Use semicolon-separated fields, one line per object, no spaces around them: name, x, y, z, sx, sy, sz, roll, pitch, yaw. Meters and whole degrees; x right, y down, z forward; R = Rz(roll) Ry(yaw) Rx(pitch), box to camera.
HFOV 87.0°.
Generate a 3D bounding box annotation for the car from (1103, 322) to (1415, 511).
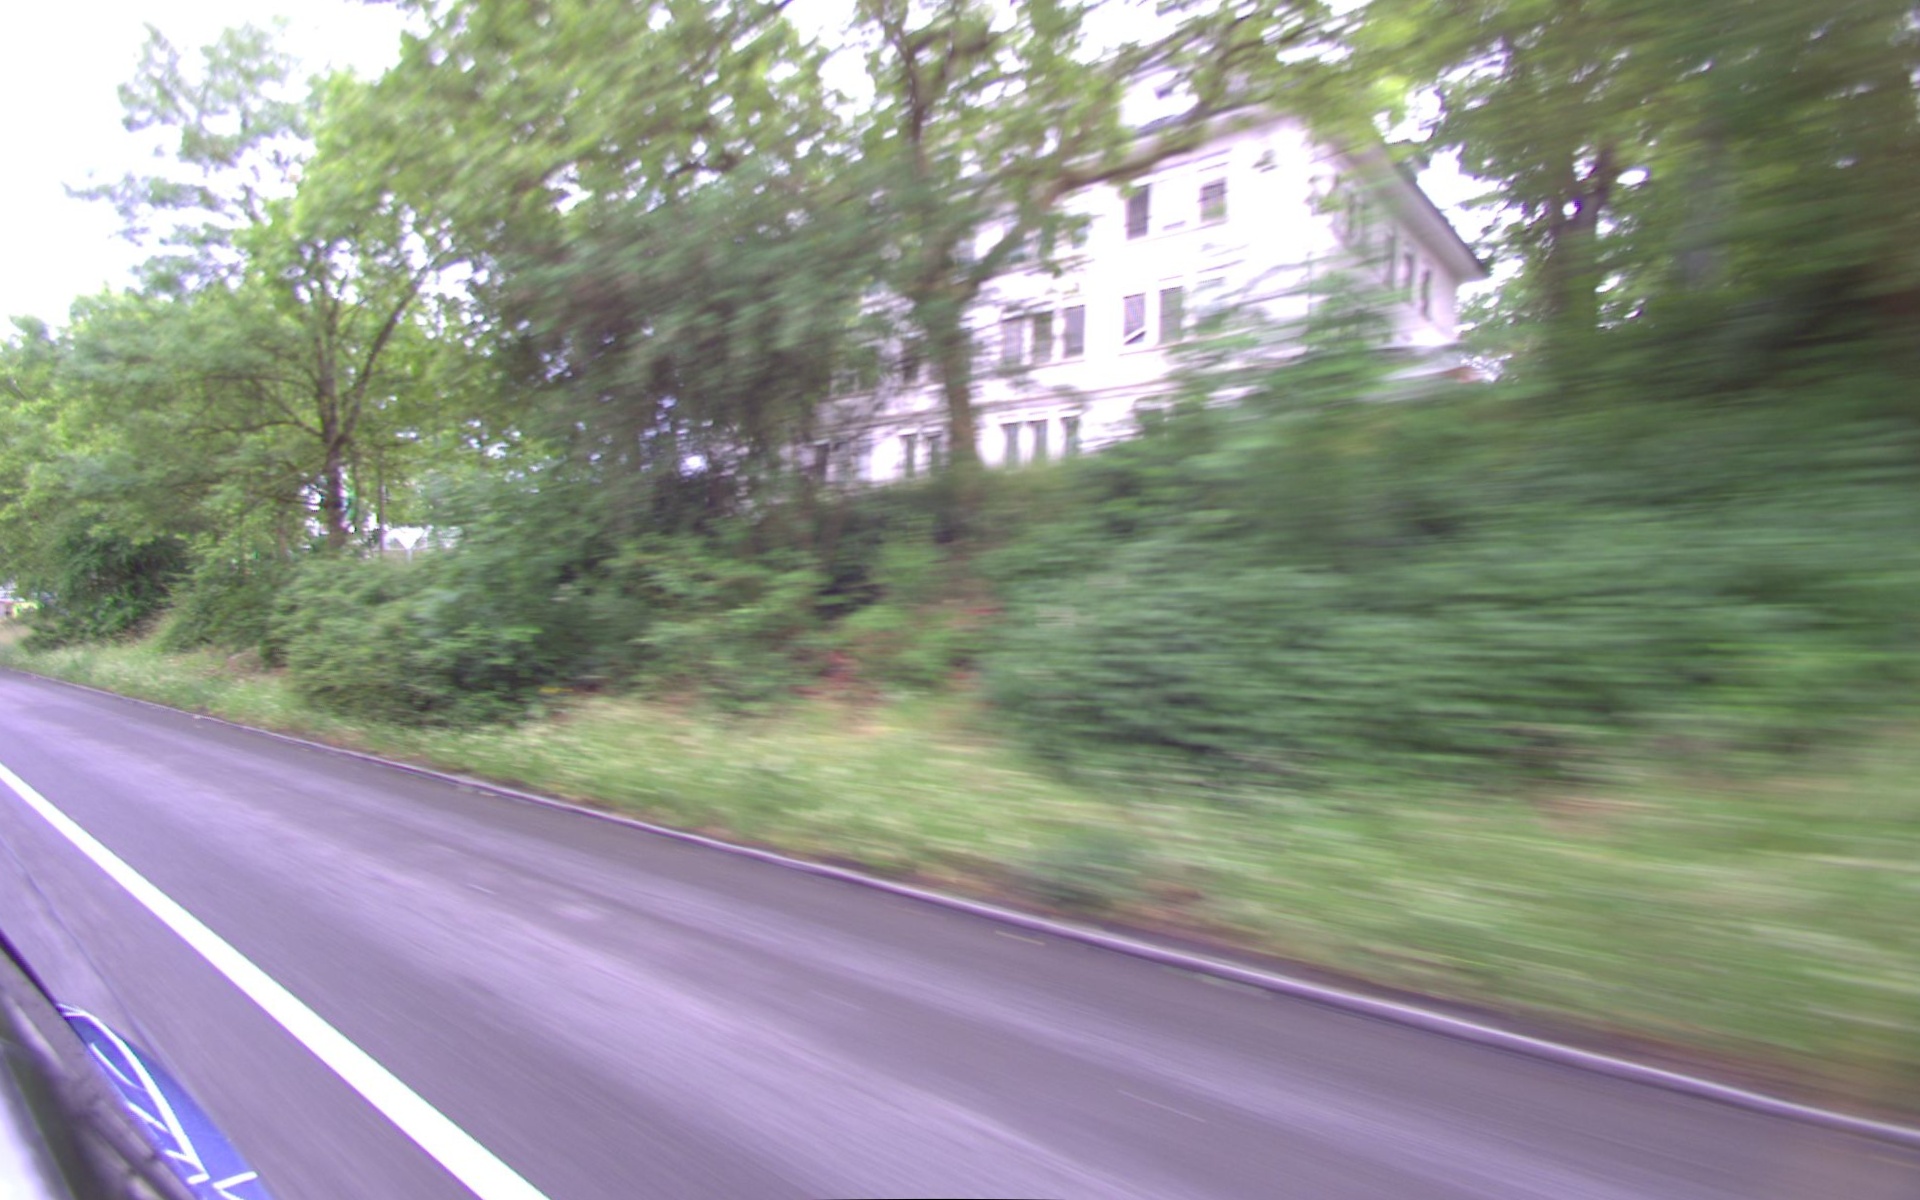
car;4.357;-2.521;14.953;3.992;2.029;1.976;-1;0;36
